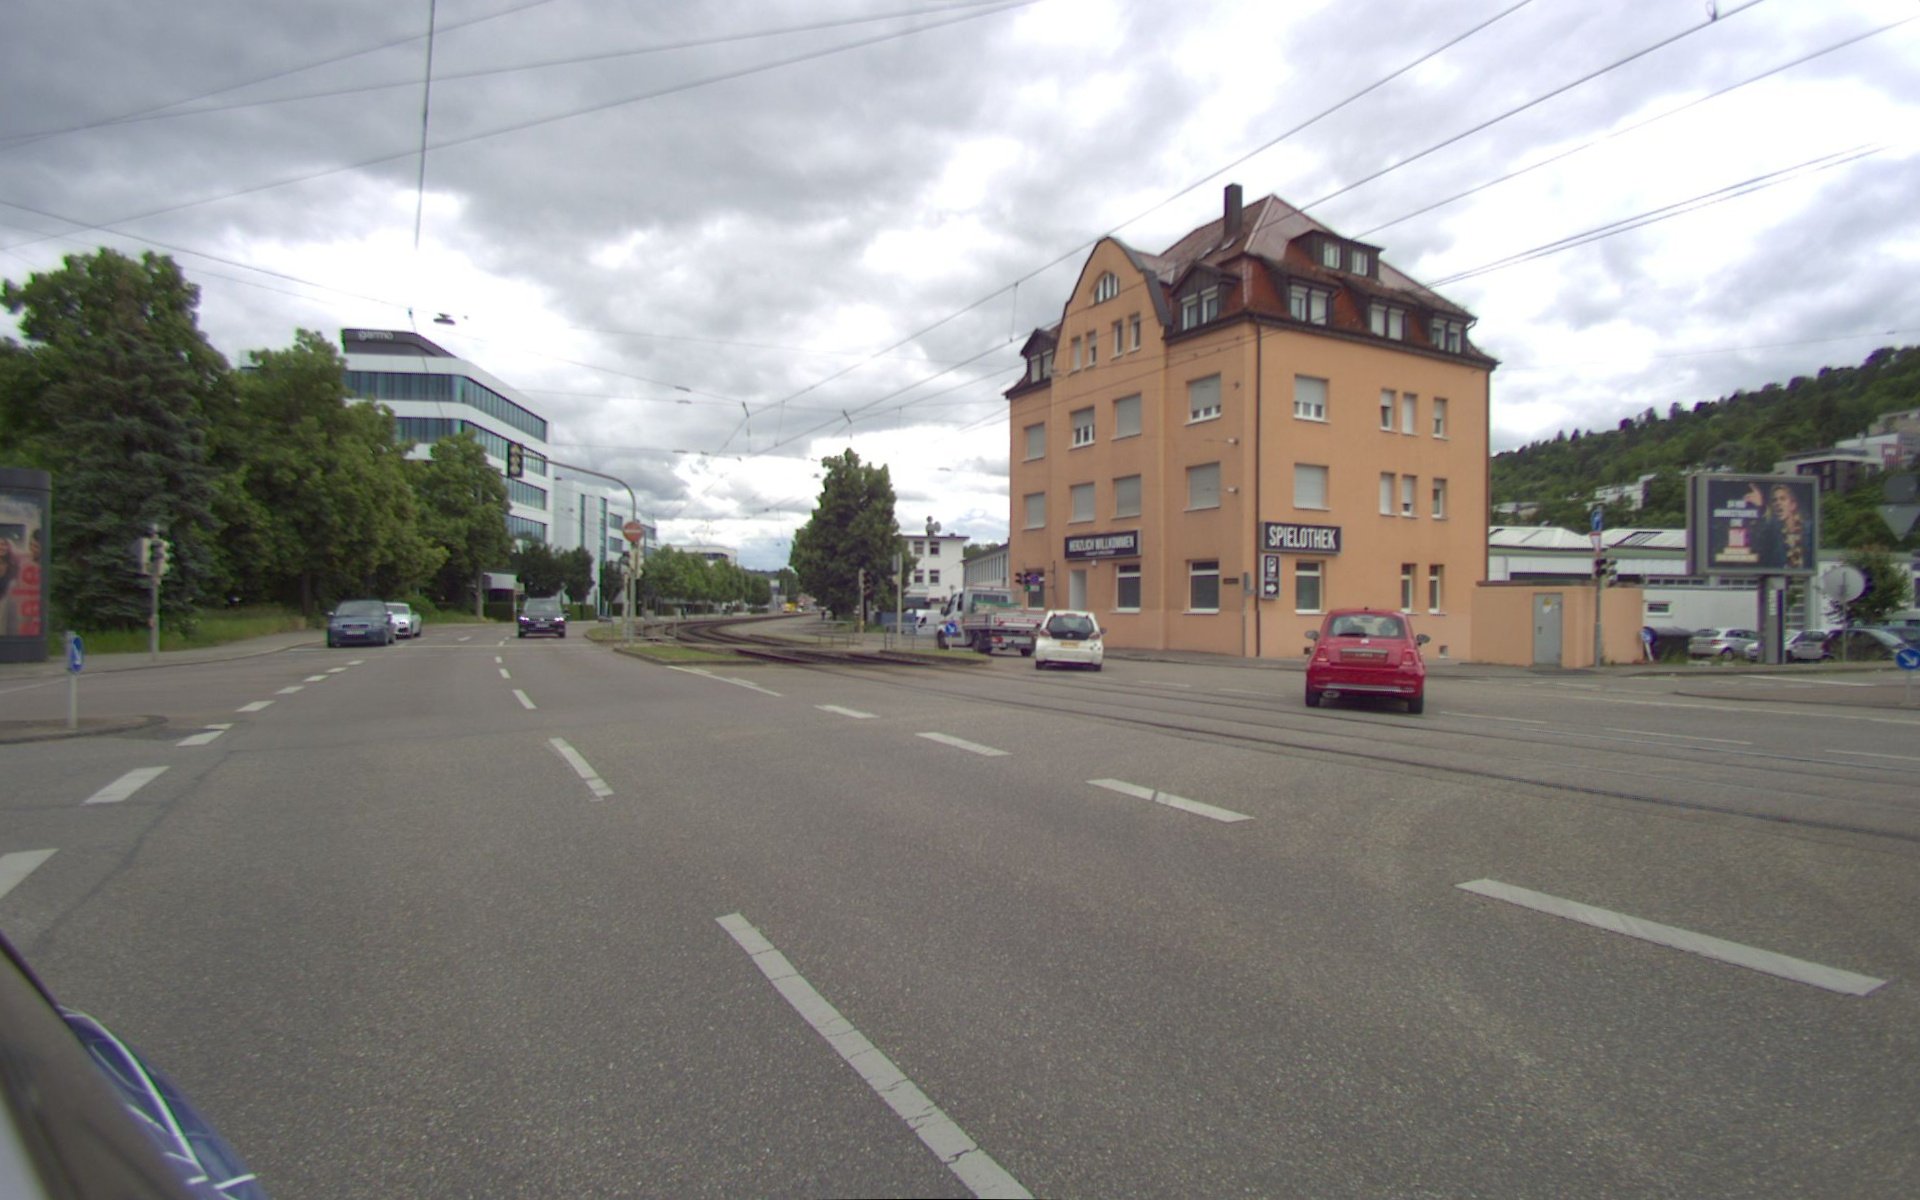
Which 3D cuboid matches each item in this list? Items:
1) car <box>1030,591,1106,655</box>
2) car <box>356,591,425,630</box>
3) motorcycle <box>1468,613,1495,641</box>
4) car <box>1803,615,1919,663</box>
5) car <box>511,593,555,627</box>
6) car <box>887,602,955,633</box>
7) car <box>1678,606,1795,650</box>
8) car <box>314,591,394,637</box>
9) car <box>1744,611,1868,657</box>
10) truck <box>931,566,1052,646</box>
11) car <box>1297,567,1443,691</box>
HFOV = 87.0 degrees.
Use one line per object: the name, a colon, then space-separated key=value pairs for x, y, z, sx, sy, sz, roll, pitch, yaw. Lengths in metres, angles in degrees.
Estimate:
car: x=2.727 y=0.588 z=25.116 sx=1.581 sy=1.431 sz=3.362 roll=-2 pitch=-2 yaw=11
car: x=-22.477 y=0.380 z=40.080 sx=1.719 sy=1.437 sz=4.179 roll=-1 pitch=0 yaw=-20
motorcycle: x=21.256 y=1.105 z=41.286 sx=0.524 sy=0.991 sz=1.702 roll=3 pitch=3 yaw=14
car: x=30.918 y=1.276 z=34.147 sx=1.577 sy=1.497 sz=3.578 roll=0 pitch=0 yaw=-38
car: x=-17.675 y=0.399 z=41.988 sx=1.601 sy=1.342 sz=3.185 roll=0 pitch=0 yaw=-22
car: x=-2.809 y=1.216 z=74.692 sx=1.744 sy=2.117 sz=6.231 roll=0 pitch=1 yaw=32
car: x=36.947 y=1.334 z=48.164 sx=4.434 sy=1.852 sz=2.006 roll=1 pitch=3 yaw=-15
car: x=-19.684 y=0.408 z=33.011 sx=1.719 sy=1.402 sz=3.715 roll=-1 pitch=0 yaw=-23
car: x=38.016 y=1.521 z=45.488 sx=4.434 sy=1.852 sz=2.006 roll=1 pitch=3 yaw=-16
truck: x=0.940 y=0.184 z=34.625 sx=2.281 sy=2.440 sz=5.672 roll=2 pitch=0 yaw=-18
car: x=6.477 y=0.321 z=15.744 sx=1.695 sy=1.536 sz=3.963 roll=3 pitch=4 yaw=27
